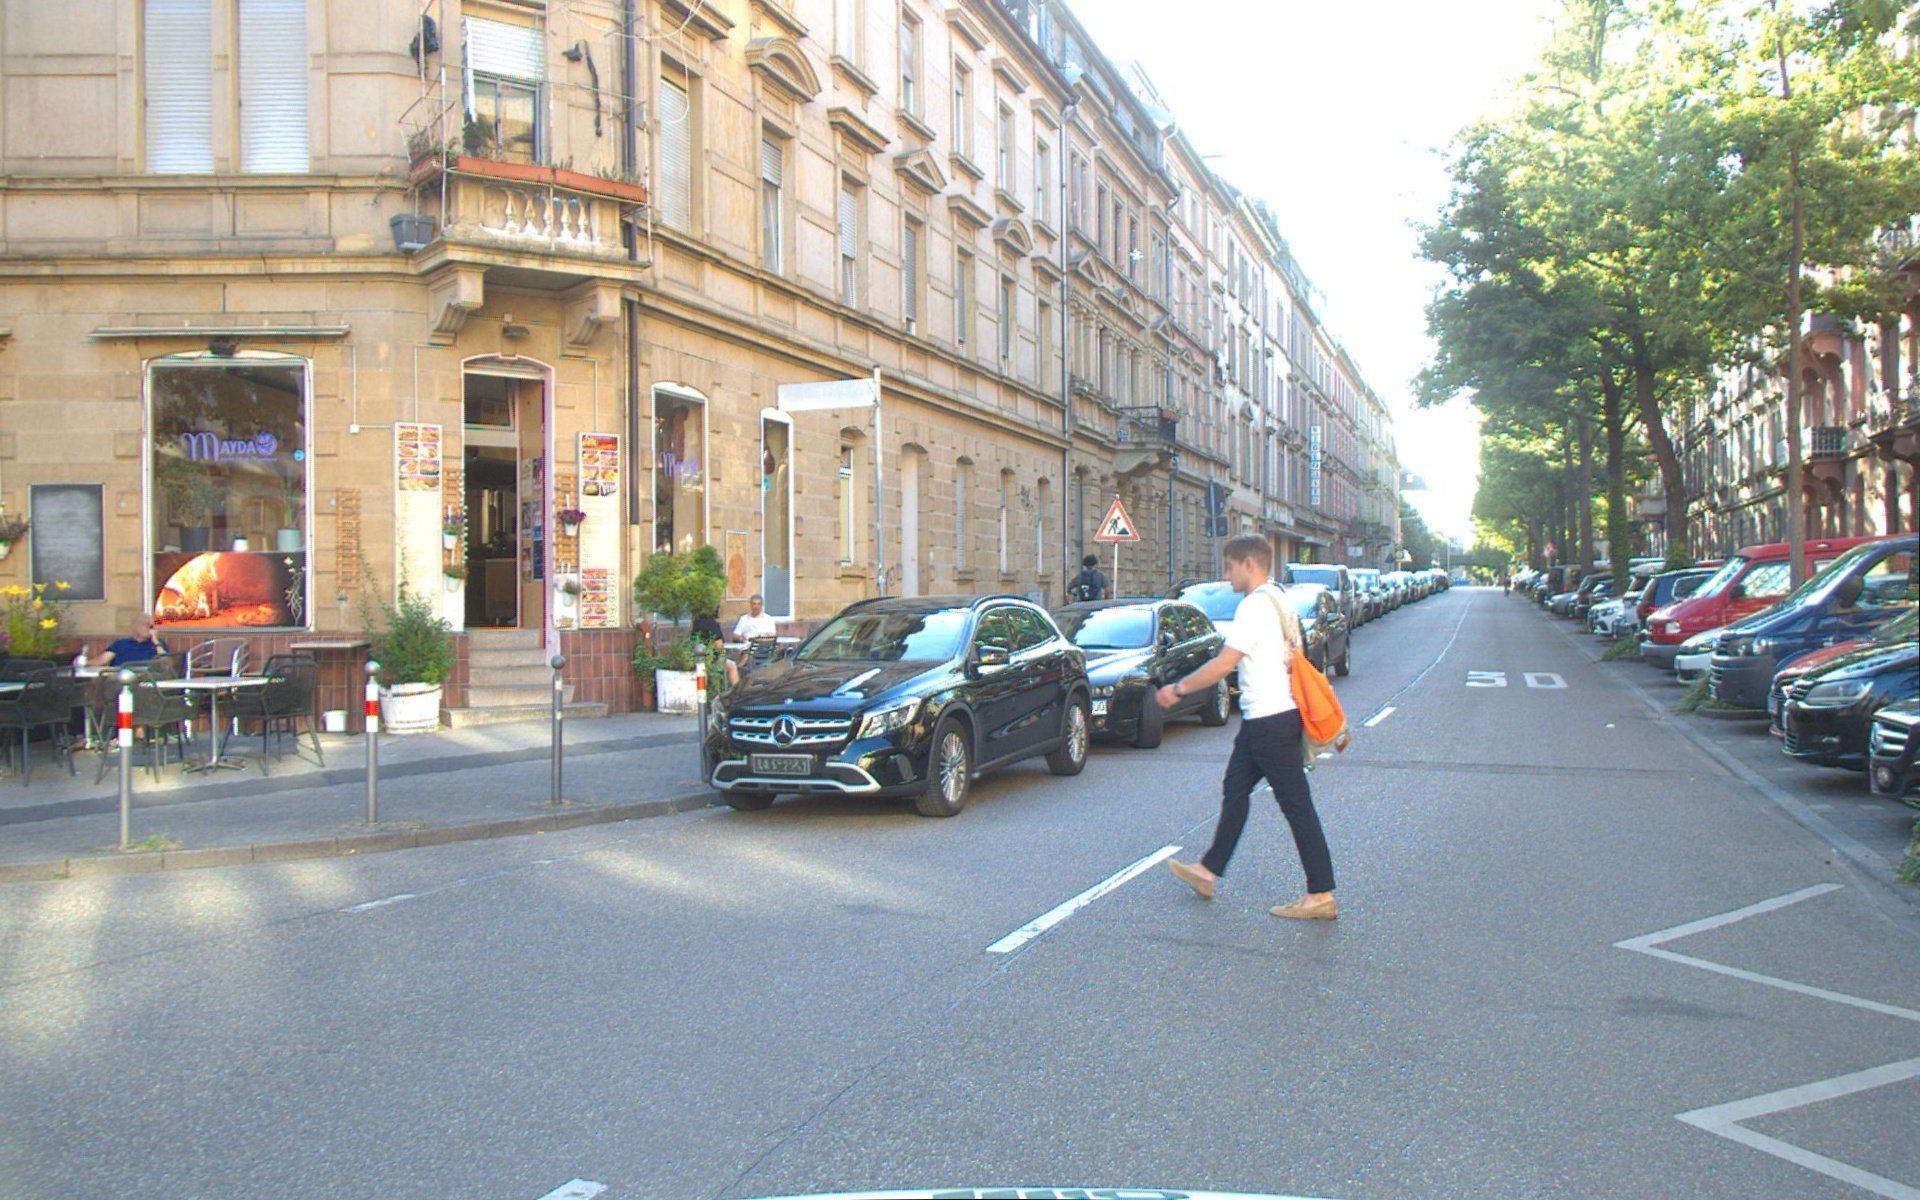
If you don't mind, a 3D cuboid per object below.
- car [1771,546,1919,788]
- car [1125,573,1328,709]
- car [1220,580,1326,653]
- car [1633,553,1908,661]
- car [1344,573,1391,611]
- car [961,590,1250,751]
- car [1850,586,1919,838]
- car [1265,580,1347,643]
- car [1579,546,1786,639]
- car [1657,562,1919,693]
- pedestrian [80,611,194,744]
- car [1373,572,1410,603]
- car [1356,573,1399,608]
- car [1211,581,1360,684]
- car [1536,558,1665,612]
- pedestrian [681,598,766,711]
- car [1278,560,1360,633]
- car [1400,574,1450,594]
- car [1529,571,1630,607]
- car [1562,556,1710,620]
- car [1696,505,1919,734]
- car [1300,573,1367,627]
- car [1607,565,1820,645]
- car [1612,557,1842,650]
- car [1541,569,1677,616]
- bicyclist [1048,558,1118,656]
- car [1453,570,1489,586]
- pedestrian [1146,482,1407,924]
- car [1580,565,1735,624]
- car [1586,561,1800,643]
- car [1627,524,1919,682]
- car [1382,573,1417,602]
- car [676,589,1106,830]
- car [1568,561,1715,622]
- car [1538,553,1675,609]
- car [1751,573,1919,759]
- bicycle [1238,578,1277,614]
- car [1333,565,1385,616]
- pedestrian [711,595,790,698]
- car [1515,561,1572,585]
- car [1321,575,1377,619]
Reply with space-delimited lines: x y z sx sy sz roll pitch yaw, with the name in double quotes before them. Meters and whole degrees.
"car" 8.502 0.407 11.954 4.593 1.708 1.850 -2 -1 24
"car" 3.728 0.487 22.449 1.722 1.628 4.550 -2 0 22
"car" 7.265 0.350 38.080 1.722 1.527 4.061 -2 0 20
"car" 14.035 0.135 28.925 4.100 1.656 1.837 -3 -1 21
"car" 17.059 -0.343 69.100 1.721 1.498 4.062 -1 1 16
"car" 1.710 0.661 17.716 1.723 1.477 4.549 -2 0 23
"car" 7.976 0.552 9.590 4.686 1.437 1.851 -2 -1 20
"car" 8.904 0.263 42.351 1.559 1.501 3.700 1 1 20
"car" 17.651 -0.189 40.625 4.350 1.957 1.852 -4 1 16
"car" 11.375 0.329 21.603 3.969 1.536 1.880 -3 -1 18
"pedestrian" -7.917 0.728 15.943 0.710 1.235 0.756 -1 0 -1
"car" 22.332 -0.666 85.504 1.721 1.498 4.062 -1 1 16
"car" 18.926 -0.458 74.912 1.721 1.498 4.062 -1 1 16
"car" 5.449 0.491 27.341 1.722 1.527 4.060 -2 0 21
"car" 24.436 -0.580 63.167 4.136 1.826 1.834 -3 0 -2
"pedestrian" -2.740 0.621 19.198 0.710 1.281 0.757 -1 0 16
"car" 10.413 -0.143 47.721 1.793 1.977 5.263 1 1 18
"car" 36.888 -1.272 131.207 3.962 1.512 1.971 0 -2 -40
"car" 26.011 -0.455 69.599 3.768 1.316 1.719 -3 0 15
"car" 21.534 -0.377 52.834 4.132 1.807 1.836 -3 0 17
"car" 10.373 0.177 16.979 4.915 2.253 1.994 -1 0 17
"car" 12.096 -0.033 53.412 1.717 1.636 4.386 1 1 18
"car" 16.260 0.116 35.888 3.926 1.459 1.795 -4 -1 18
"car" 15.464 0.086 33.566 3.925 1.656 1.806 -3 -1 17
"car" 22.627 -0.274 57.827 4.131 1.428 1.837 -3 0 13
"bicyclist" 2.369 0.121 31.712 0.975 1.821 1.208 -2 1 21
"car" 60.436 -2.580 195.704 3.909 1.891 1.750 0 1 26
"pedestrian" 1.509 0.453 7.795 1.091 1.932 0.843 -1 0 18
"car" 20.096 -0.144 47.796 3.926 1.493 1.735 -3 -1 18
"car" 16.830 0.036 38.198 4.253 1.583 1.851 -4 1 17
"car" 12.366 0.038 24.175 4.575 2.069 1.880 -3 -1 15
"car" 23.940 -0.682 90.001 1.721 1.498 4.062 -1 1 16
"car" -0.324 0.700 12.710 1.722 1.514 4.138 -2 0 22
"car" 20.577 -0.242 50.086 3.926 1.635 1.735 -3 -1 18
"car" 25.948 -0.756 66.603 4.951 1.959 1.836 -3 0 18
"car" 9.209 0.538 14.364 4.020 1.561 1.725 -1 0 19
"bicycle" 11.425 -0.177 63.347 1.019 1.341 4.003 0 1 17
"car" 15.593 -0.404 64.443 1.721 1.874 4.533 -1 1 16
"pedestrian" -2.570 0.568 20.356 0.710 1.235 0.757 -1 0 16
"car" 42.799 -1.986 121.381 3.769 1.601 1.719 -3 0 17
"car" 14.109 -0.133 59.895 1.721 1.492 4.003 1 1 16
